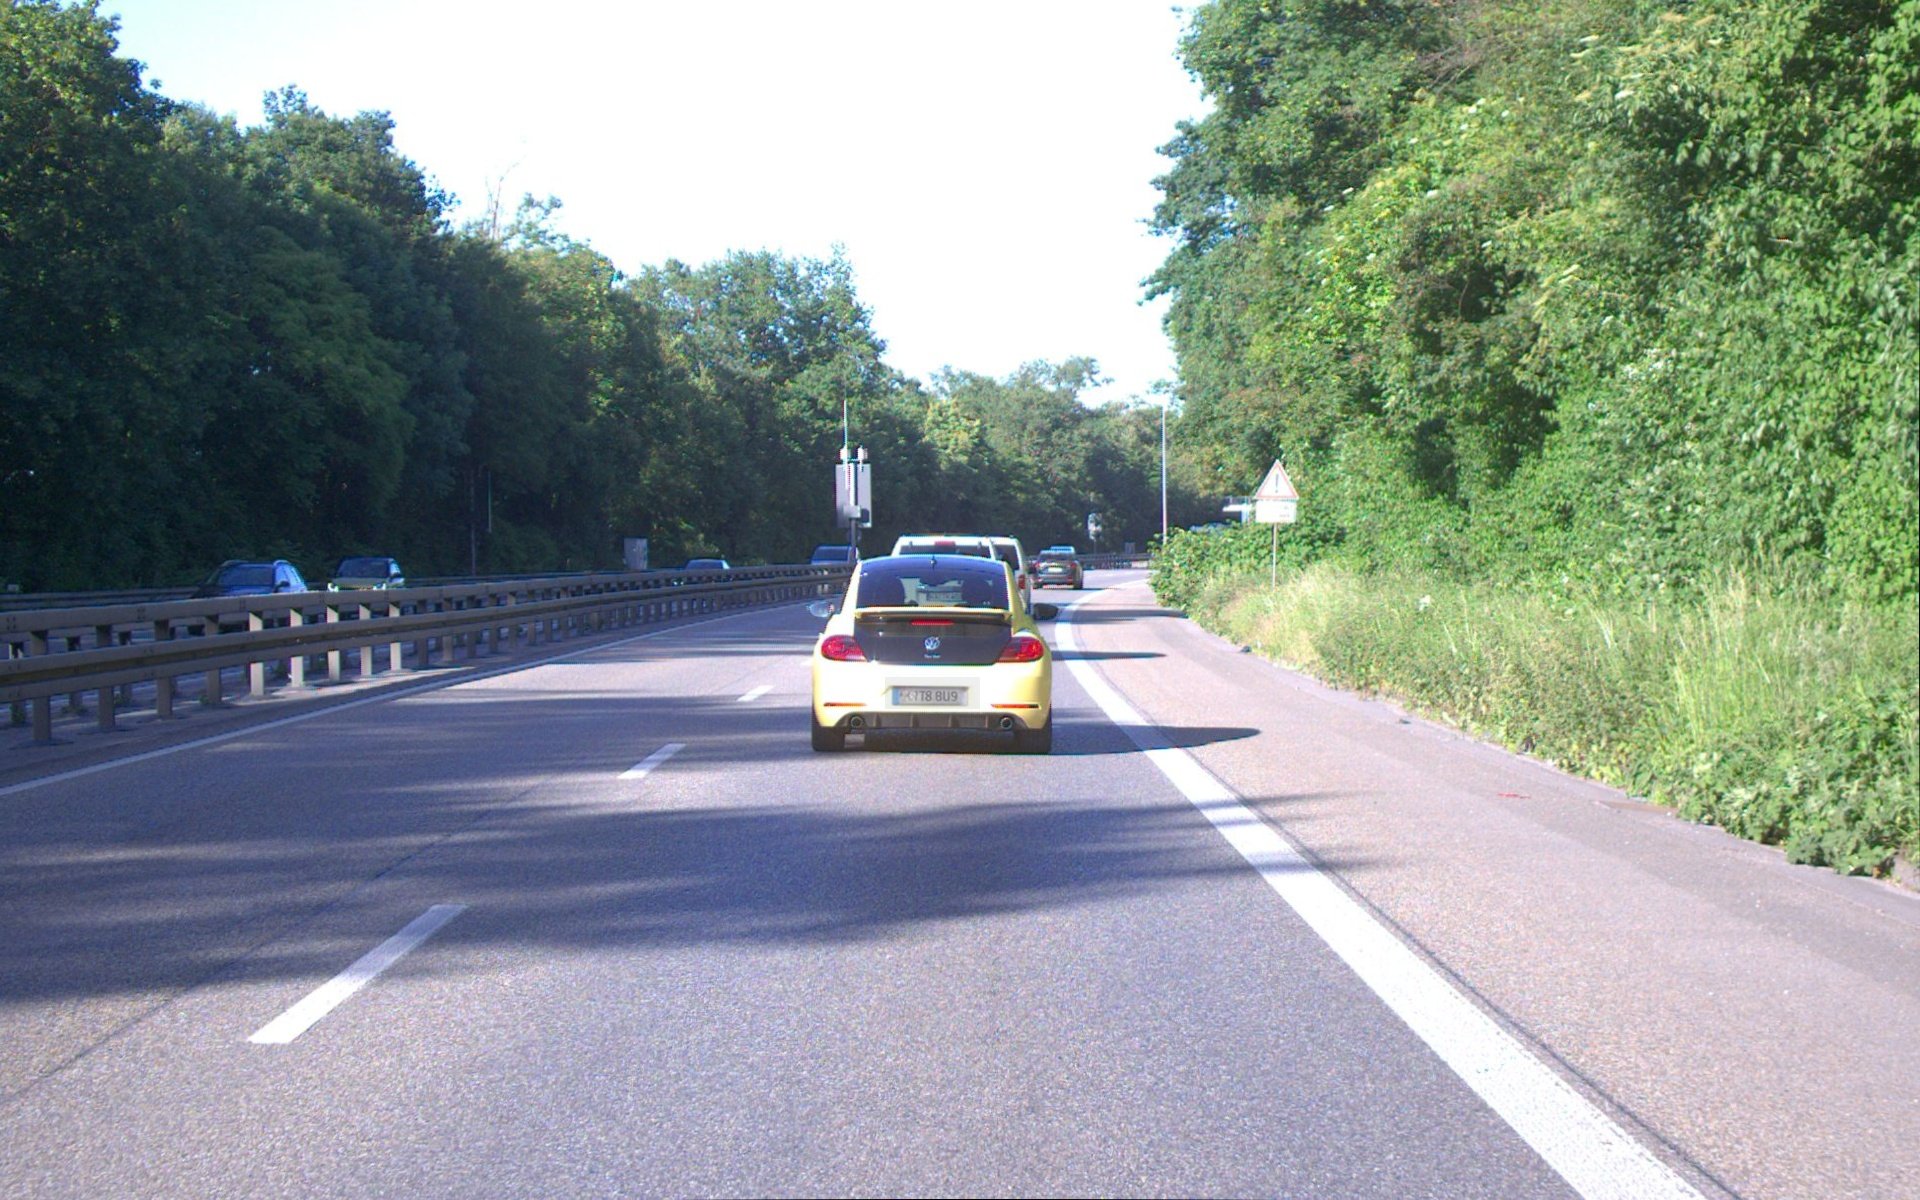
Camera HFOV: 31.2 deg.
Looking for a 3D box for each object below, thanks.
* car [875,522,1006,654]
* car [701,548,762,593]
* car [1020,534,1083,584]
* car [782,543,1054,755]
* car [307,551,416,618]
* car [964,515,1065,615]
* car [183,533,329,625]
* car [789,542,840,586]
[{"bbox_3d":[-0.256,-0.203,49.824,1.741,1.823,3.422,1,1,2],"label":"car"},{"bbox_3d":[-7.824,-1.014,118.038,1.597,1.448,4.345,-2,1,2],"label":"car"},{"bbox_3d":[3.464,-1.570,130.695,2.263,1.869,5.076,0,1,0],"label":"car"},{"bbox_3d":[-0.276,0.321,26.264,1.939,1.503,3.422,0,1,1],"label":"car"},{"bbox_3d":[-14.969,-0.411,86.152,1.993,1.579,4.000,-2,1,0],"label":"car"},{"bbox_3d":[1.138,-0.764,73.815,1.993,2.007,4.000,-2,1,-1],"label":"car"},{"bbox_3d":[-14.335,-0.451,70.251,1.993,1.744,4.551,-2,1,0],"label":"car"},{"bbox_3d":[-6.507,-1.637,154.393,1.888,1.896,5.415,-2,1,1],"label":"car"}]
